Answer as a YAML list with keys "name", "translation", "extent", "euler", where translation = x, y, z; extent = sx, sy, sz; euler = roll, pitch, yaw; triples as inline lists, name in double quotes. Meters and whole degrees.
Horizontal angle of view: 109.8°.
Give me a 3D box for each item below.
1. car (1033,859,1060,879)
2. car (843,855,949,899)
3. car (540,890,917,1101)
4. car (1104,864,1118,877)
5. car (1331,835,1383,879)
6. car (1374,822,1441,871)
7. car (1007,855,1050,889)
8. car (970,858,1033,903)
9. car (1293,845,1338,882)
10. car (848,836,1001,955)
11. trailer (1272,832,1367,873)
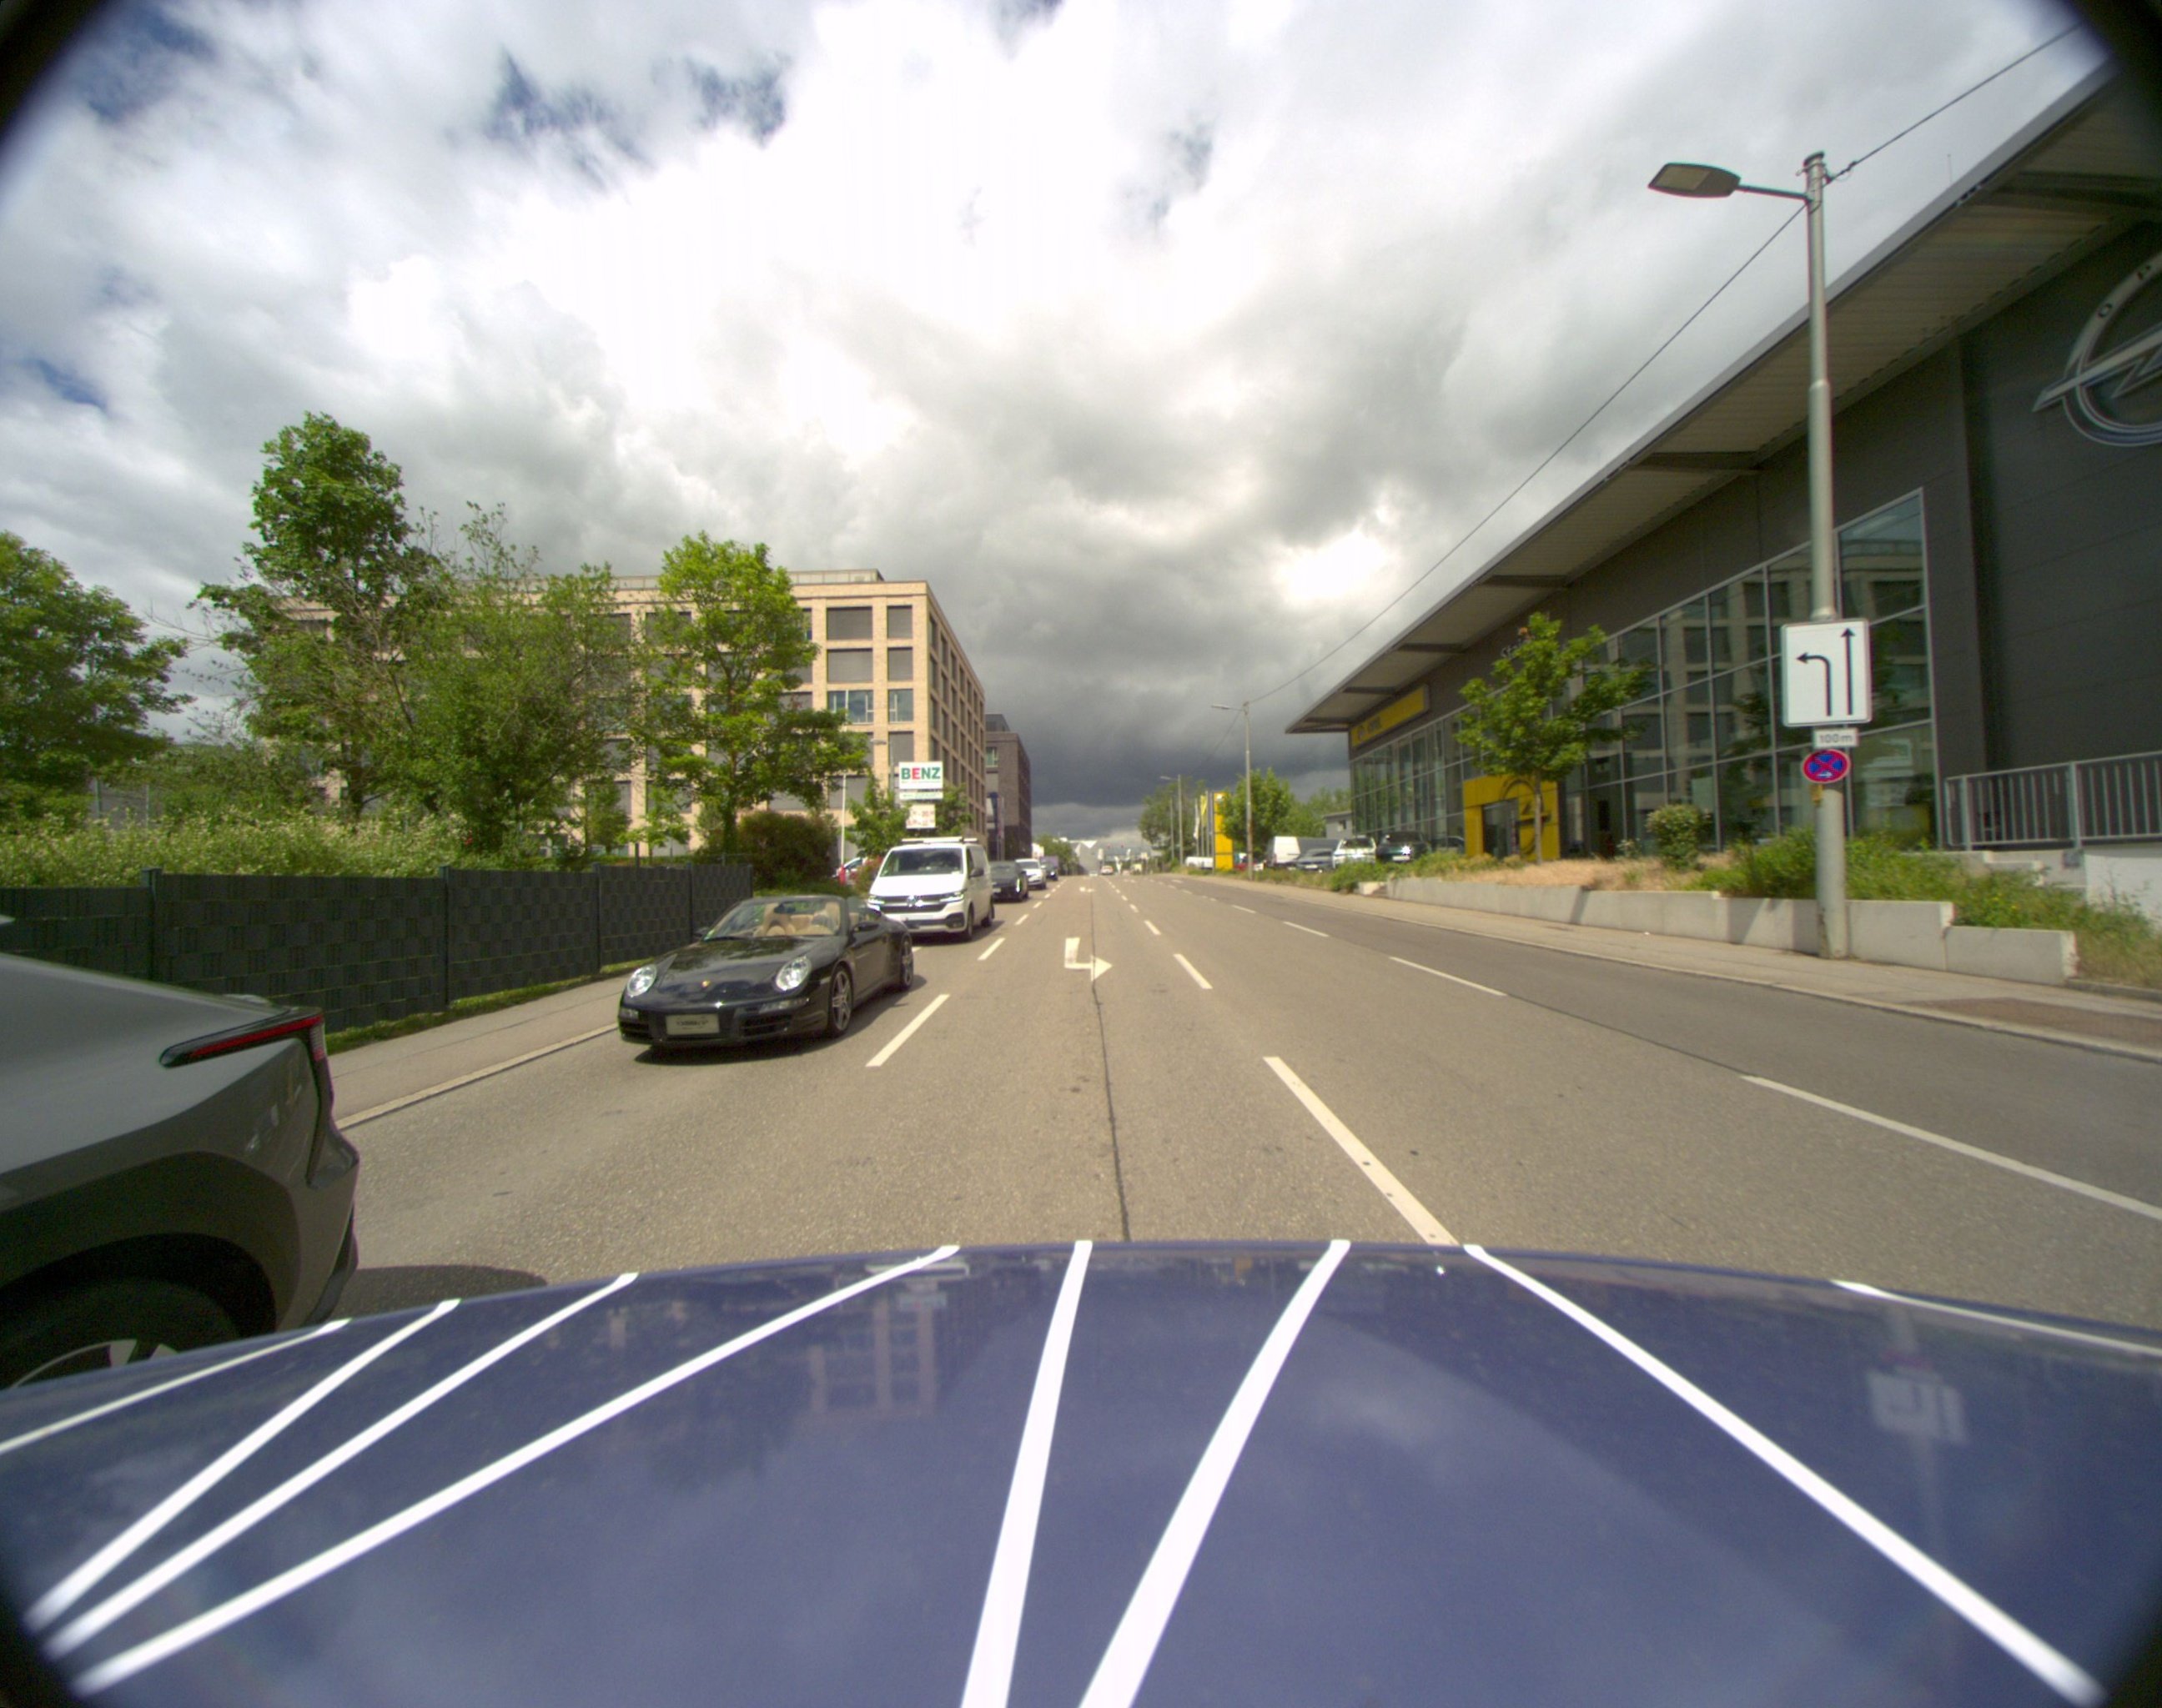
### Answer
- name: "car"
  translation: [-2.479, 1.058, 55.104]
  extent: [1.662, 1.351, 4.000]
  euler: [-1, 0, 1]
- name: "car"
  translation: [-7.643, 0.948, 31.756]
  extent: [3.998, 1.723, 1.822]
  euler: [-1, 1, -3]
- name: "car"
  translation: [-3.050, 1.148, 7.660]
  extent: [1.824, 1.286, 4.038]
  euler: [-2, 0, 1]
- name: "car"
  translation: [4.455, 2.458, 113.557]
  extent: [1.998, 1.731, 4.547]
  euler: [-2, 0, 1]
- name: "car"
  translation: [12.155, 0.121, 33.441]
  extent: [1.995, 1.783, 4.006]
  euler: [-1, 0, 21]
- name: "car"
  translation: [12.323, -0.259, 28.931]
  extent: [1.996, 1.718, 4.005]
  euler: [-1, 0, 18]
- name: "car"
  translation: [-2.606, 0.888, 38.428]
  extent: [1.818, 1.577, 4.000]
  euler: [-1, 0, 1]
- name: "car"
  translation: [-2.841, 0.906, 27.887]
  extent: [1.818, 1.454, 4.000]
  euler: [-1, 0, 1]
- name: "car"
  translation: [12.093, 0.460, 39.015]
  extent: [1.995, 1.783, 4.006]
  euler: [-1, 0, 21]
- name: "car"
  translation: [-3.028, 0.727, 15.876]
  extent: [2.089, 2.037, 4.760]
  euler: [-2, 0, 1]
- name: "trailer"
  translation: [14.437, -0.077, 46.175]
  extent: [5.074, 2.336, 2.000]
  euler: [-1, 1, -1]
